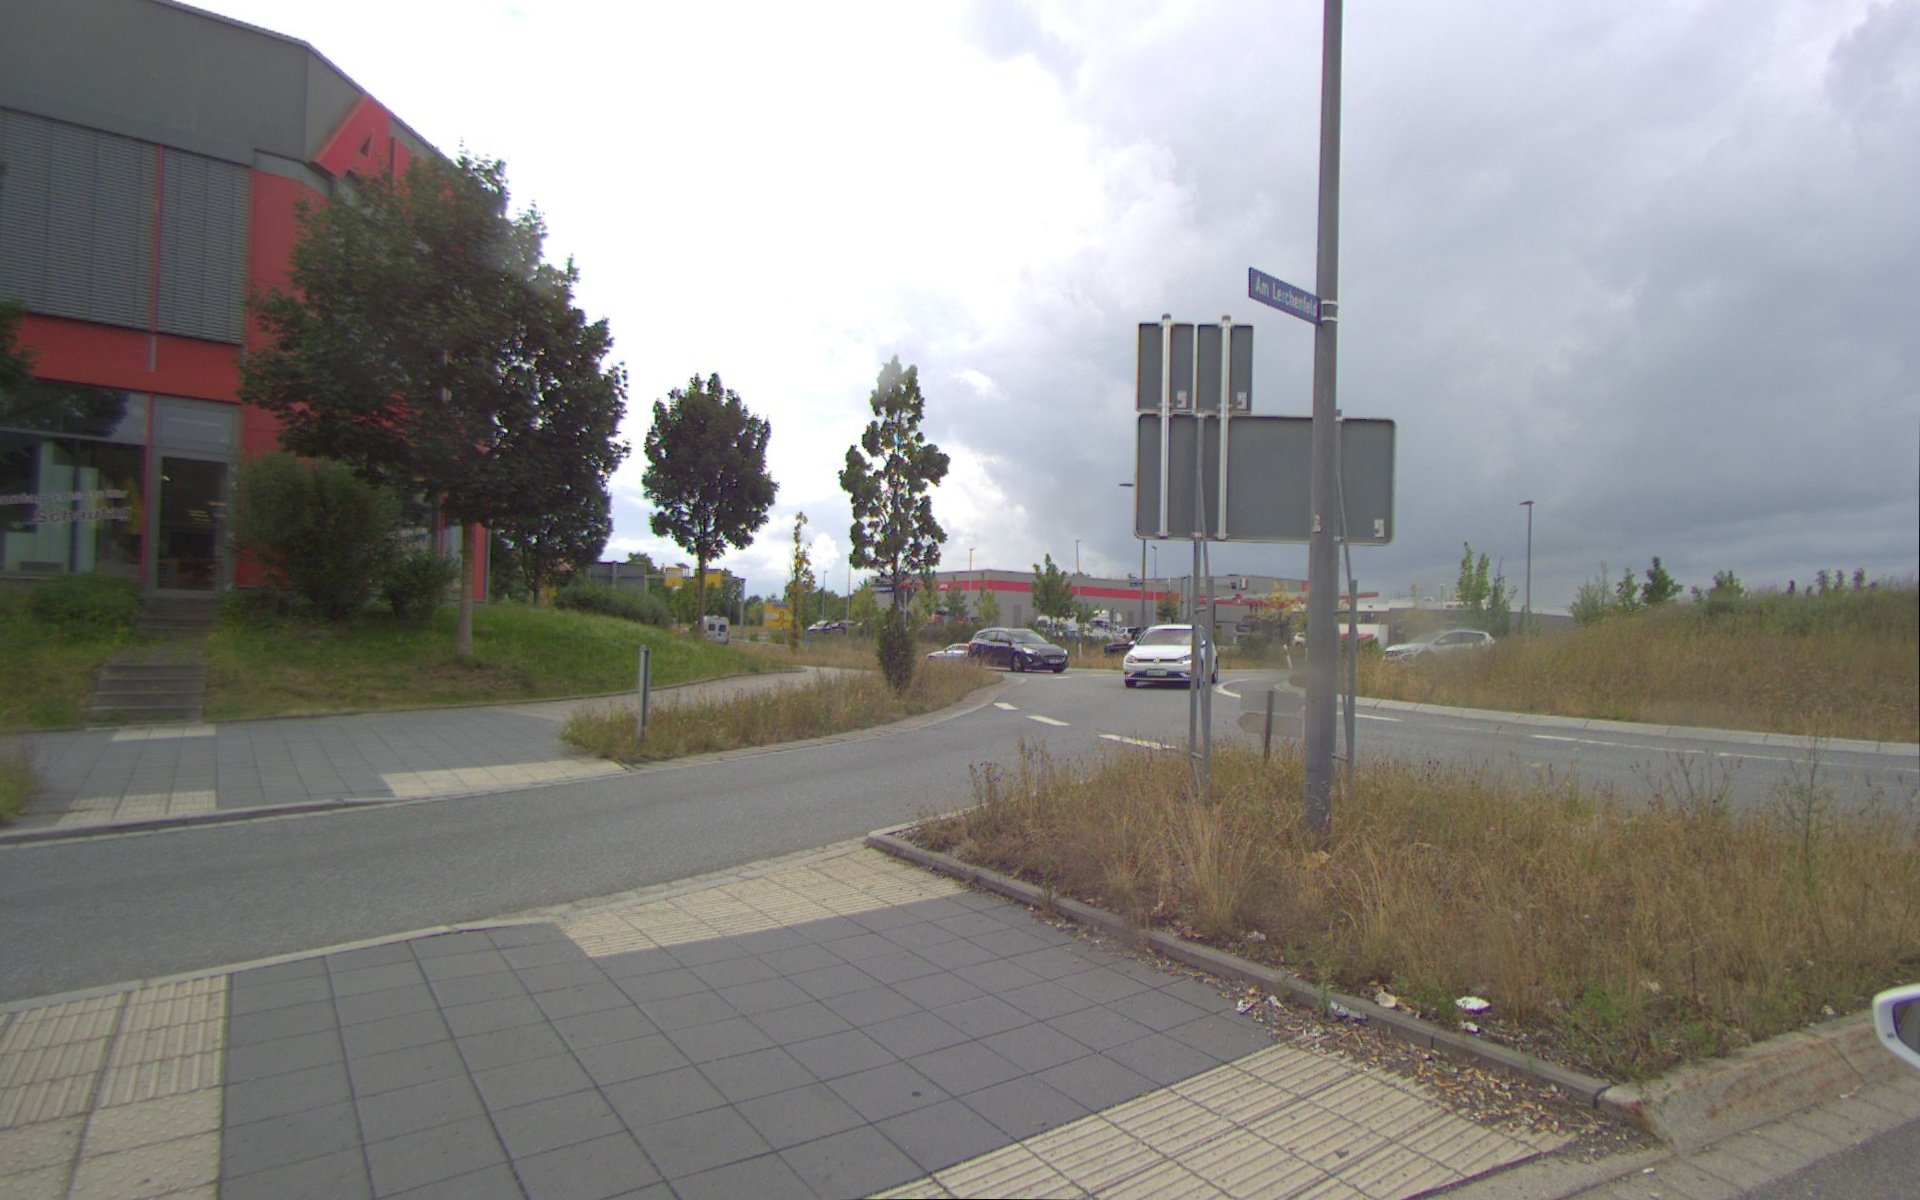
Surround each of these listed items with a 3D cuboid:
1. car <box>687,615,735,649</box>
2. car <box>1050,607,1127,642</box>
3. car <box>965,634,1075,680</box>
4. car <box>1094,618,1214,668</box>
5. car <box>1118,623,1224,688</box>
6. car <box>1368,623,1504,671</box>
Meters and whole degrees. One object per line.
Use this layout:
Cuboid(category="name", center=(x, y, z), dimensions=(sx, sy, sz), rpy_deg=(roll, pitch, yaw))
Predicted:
Cuboid(category="car", center=(-20.087, 2.526, 80.819), dimensions=(2.253, 2.418, 5.669), rpy_deg=(4, -1, -28))
Cuboid(category="car", center=(12.160, 2.325, 94.387), dimensions=(7.626, 2.857, 2.443), rpy_deg=(4, -1, -39))
Cuboid(category="car", center=(1.990, 1.914, 33.868), dimensions=(1.663, 1.267, 3.552), rpy_deg=(4, -1, -40))
Cuboid(category="car", center=(8.138, 1.783, 42.211), dimensions=(4.556, 1.776, 1.727), rpy_deg=(3, -1, 26))
Cuboid(category="car", center=(5.244, 1.295, 24.500), dimensions=(1.695, 1.427, 4.642), rpy_deg=(-1, -2, 23))
Cuboid(category="car", center=(16.575, 1.625, 35.076), dimensions=(4.012, 1.578, 1.731), rpy_deg=(0, -2, -9))
